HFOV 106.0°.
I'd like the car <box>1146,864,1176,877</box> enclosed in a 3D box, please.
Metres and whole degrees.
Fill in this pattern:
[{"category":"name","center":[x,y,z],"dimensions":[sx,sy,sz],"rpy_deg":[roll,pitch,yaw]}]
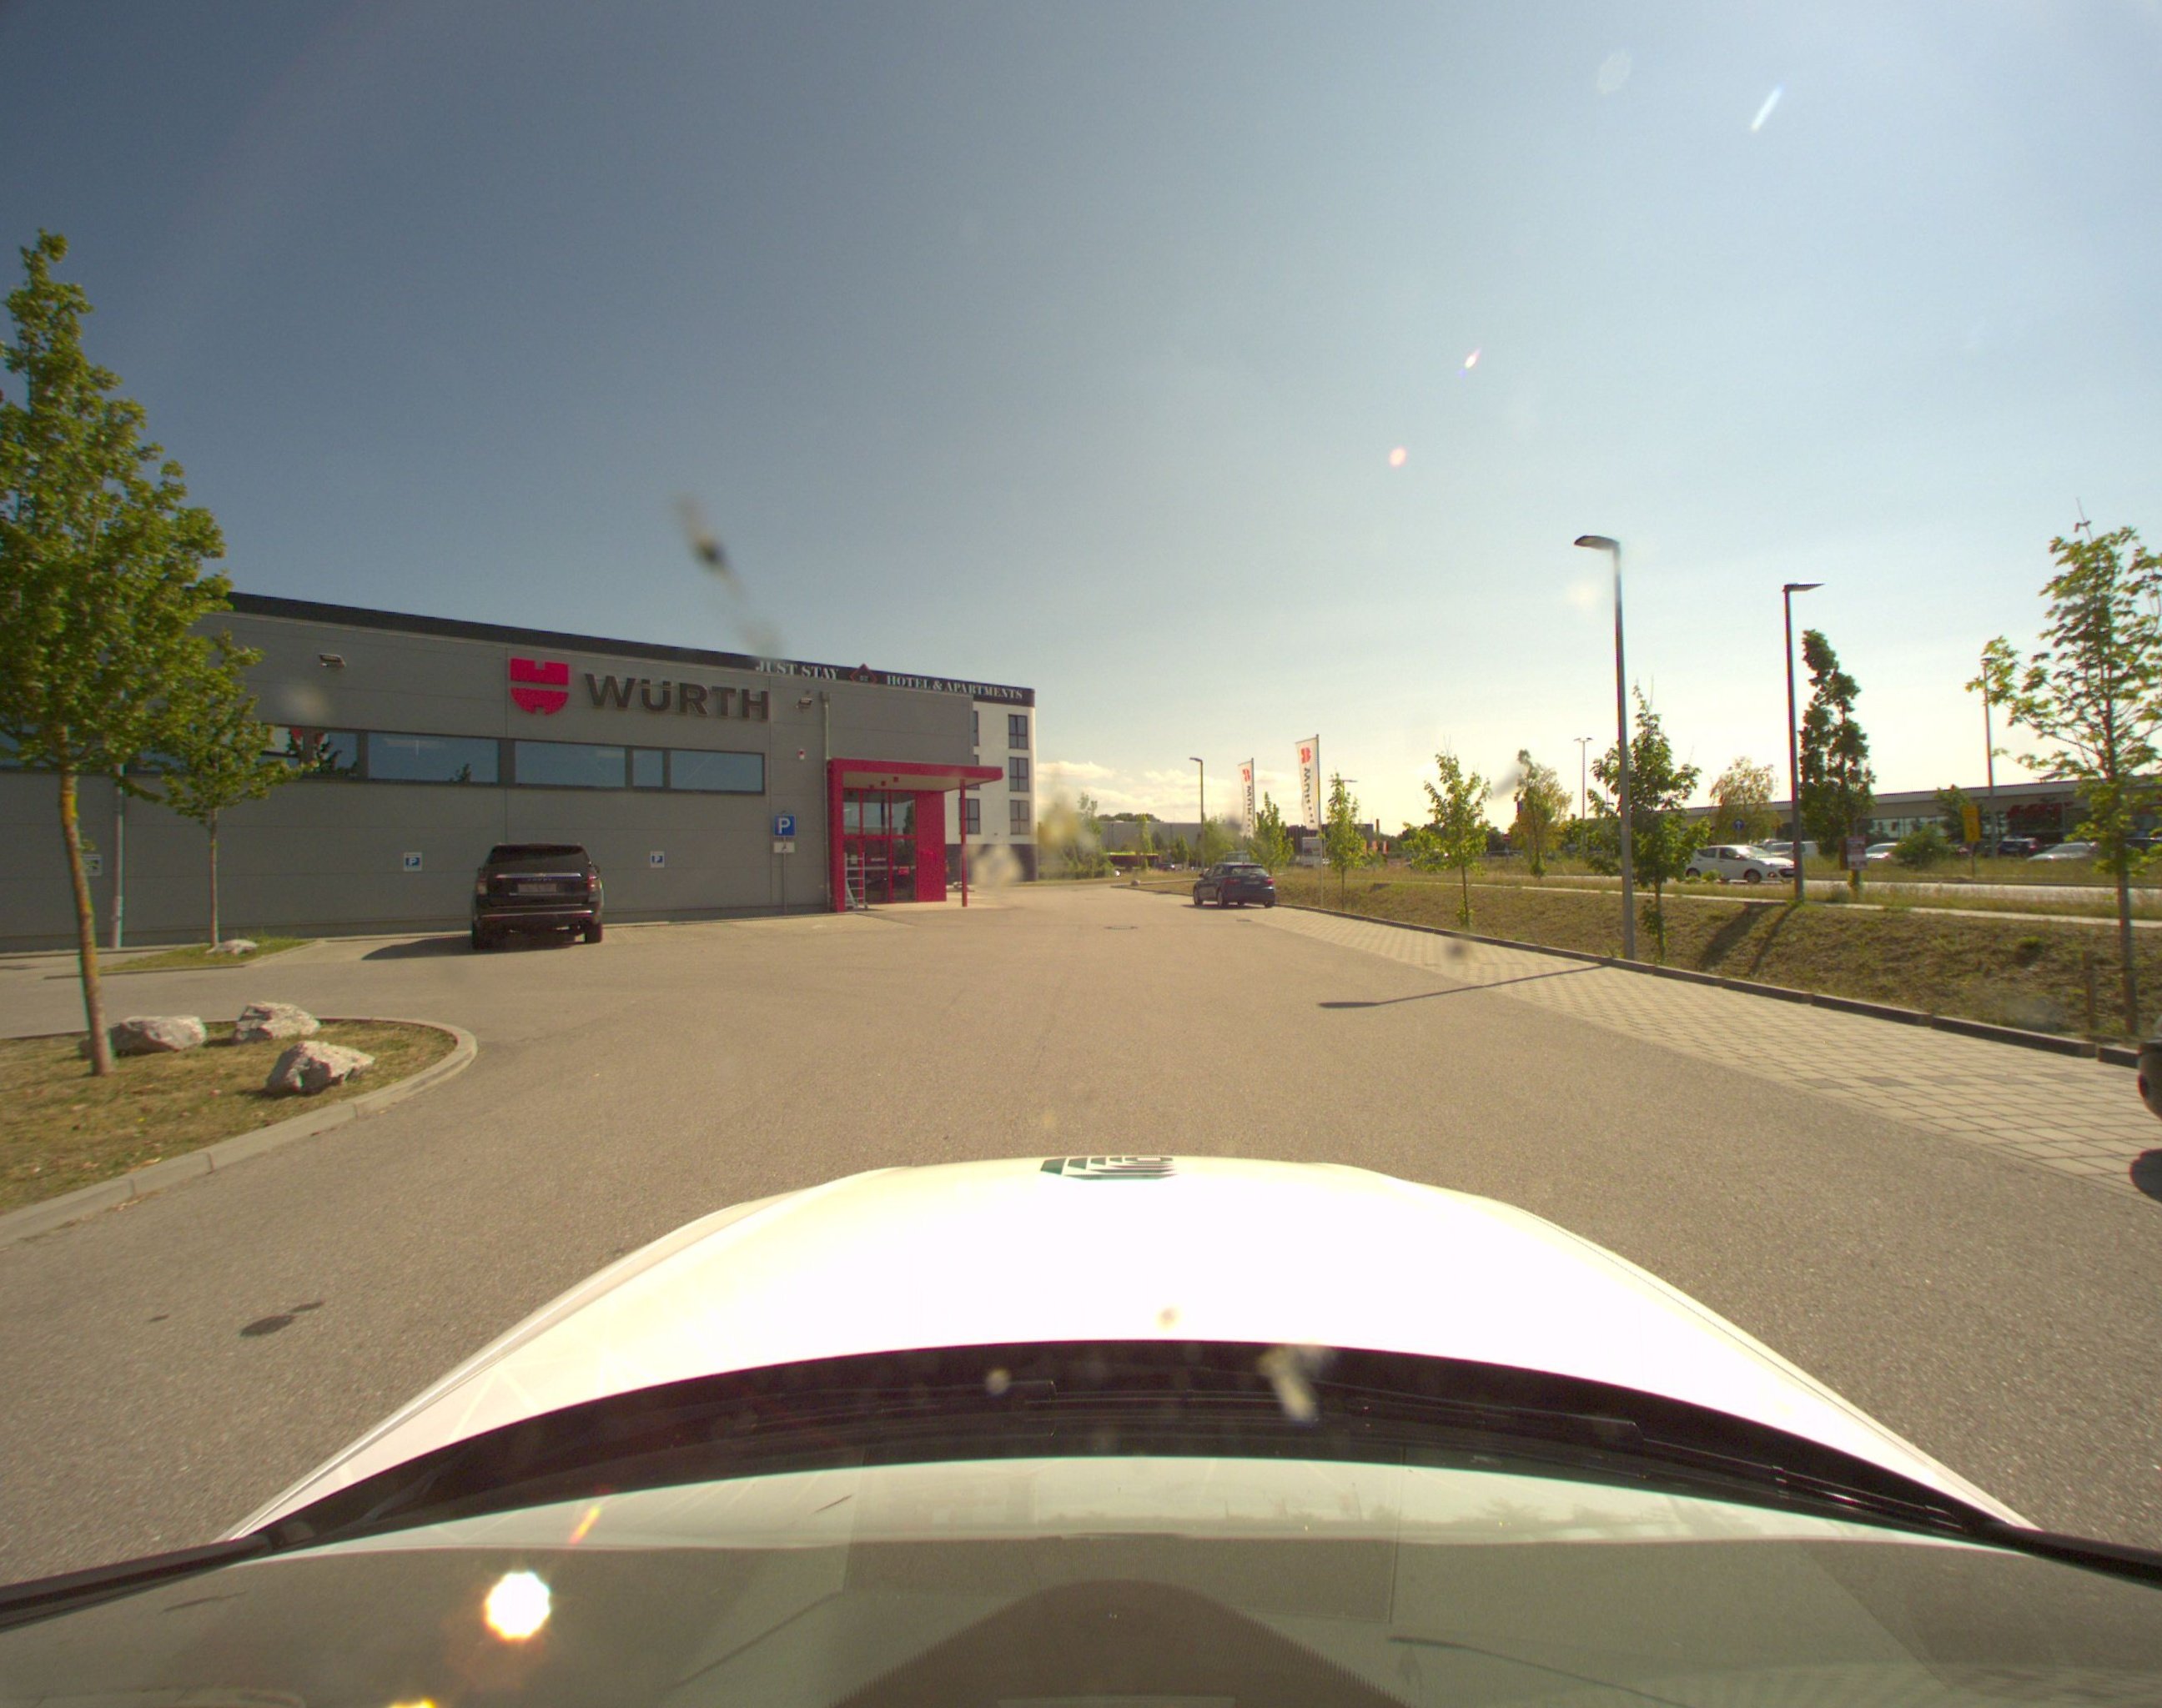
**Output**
[{"category":"car","center":[9.220,1.873,94.177],"dimensions":[1.658,1.386,3.477],"rpy_deg":[-1,0,-32]}]

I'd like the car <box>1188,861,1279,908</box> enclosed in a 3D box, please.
[{"category":"car","center":[4.878,0.930,26.520],"dimensions":[1.698,1.406,3.884],"rpy_deg":[0,-1,-9]}]

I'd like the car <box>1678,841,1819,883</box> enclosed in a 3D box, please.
[{"category":"car","center":[25.671,0.300,31.509],"dimensions":[1.872,1.483,3.986],"rpy_deg":[-1,0,-10]}]

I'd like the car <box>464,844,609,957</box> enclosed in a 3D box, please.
[{"category":"car","center":[-10.818,0.790,16.203],"dimensions":[2.086,1.880,4.827],"rpy_deg":[-1,0,-35]}]

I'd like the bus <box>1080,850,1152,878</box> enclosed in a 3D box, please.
[{"category":"bus","center":[4.890,1.261,110.067],"dimensions":[11.315,3.557,2.543],"rpy_deg":[-1,0,-44]}]

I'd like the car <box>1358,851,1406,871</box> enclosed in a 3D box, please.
[{"category":"car","center":[25.614,0.594,69.232],"dimensions":[3.671,1.598,1.701],"rpy_deg":[-1,0,-23]}]

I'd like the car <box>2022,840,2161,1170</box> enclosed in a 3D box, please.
[{"category":"car","center":[5.842,0.641,2.158],"dimensions":[1.831,1.477,4.116],"rpy_deg":[-3,0,-2]}]

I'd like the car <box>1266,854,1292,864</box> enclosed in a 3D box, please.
[{"category":"car","center":[32.777,0.844,134.883],"dimensions":[3.971,1.658,1.888],"rpy_deg":[-1,0,-31]}]

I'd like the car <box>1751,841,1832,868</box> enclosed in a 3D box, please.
[{"category":"car","center":[44.759,0.031,51.358],"dimensions":[3.651,1.618,1.838],"rpy_deg":[-1,0,-5]}]

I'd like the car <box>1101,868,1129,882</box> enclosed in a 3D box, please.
[{"category":"car","center":[3.798,2.267,90.374],"dimensions":[1.722,1.443,3.681],"rpy_deg":[-1,0,-22]}]

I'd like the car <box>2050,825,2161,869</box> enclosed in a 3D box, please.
[{"category":"car","center":[50.020,-0.344,39.437],"dimensions":[5.067,2.013,1.990],"rpy_deg":[-1,0,-14]}]

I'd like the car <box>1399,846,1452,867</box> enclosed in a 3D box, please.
[{"category":"car","center":[26.784,0.202,63.285],"dimensions":[3.671,1.598,1.701],"rpy_deg":[-1,0,-23]}]

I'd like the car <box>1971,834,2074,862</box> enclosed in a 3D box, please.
[{"category":"car","center":[57.692,-0.357,49.990],"dimensions":[1.904,1.618,3.662],"rpy_deg":[-1,0,-16]}]

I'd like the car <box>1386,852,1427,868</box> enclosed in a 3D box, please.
[{"category":"car","center":[30.682,0.534,76.782],"dimensions":[3.724,1.395,1.575],"rpy_deg":[-1,-1,-28]}]

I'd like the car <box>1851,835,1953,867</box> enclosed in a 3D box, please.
[{"category":"car","center":[47.088,-0.188,46.734],"dimensions":[4.411,1.726,1.993],"rpy_deg":[-1,0,-11]}]
